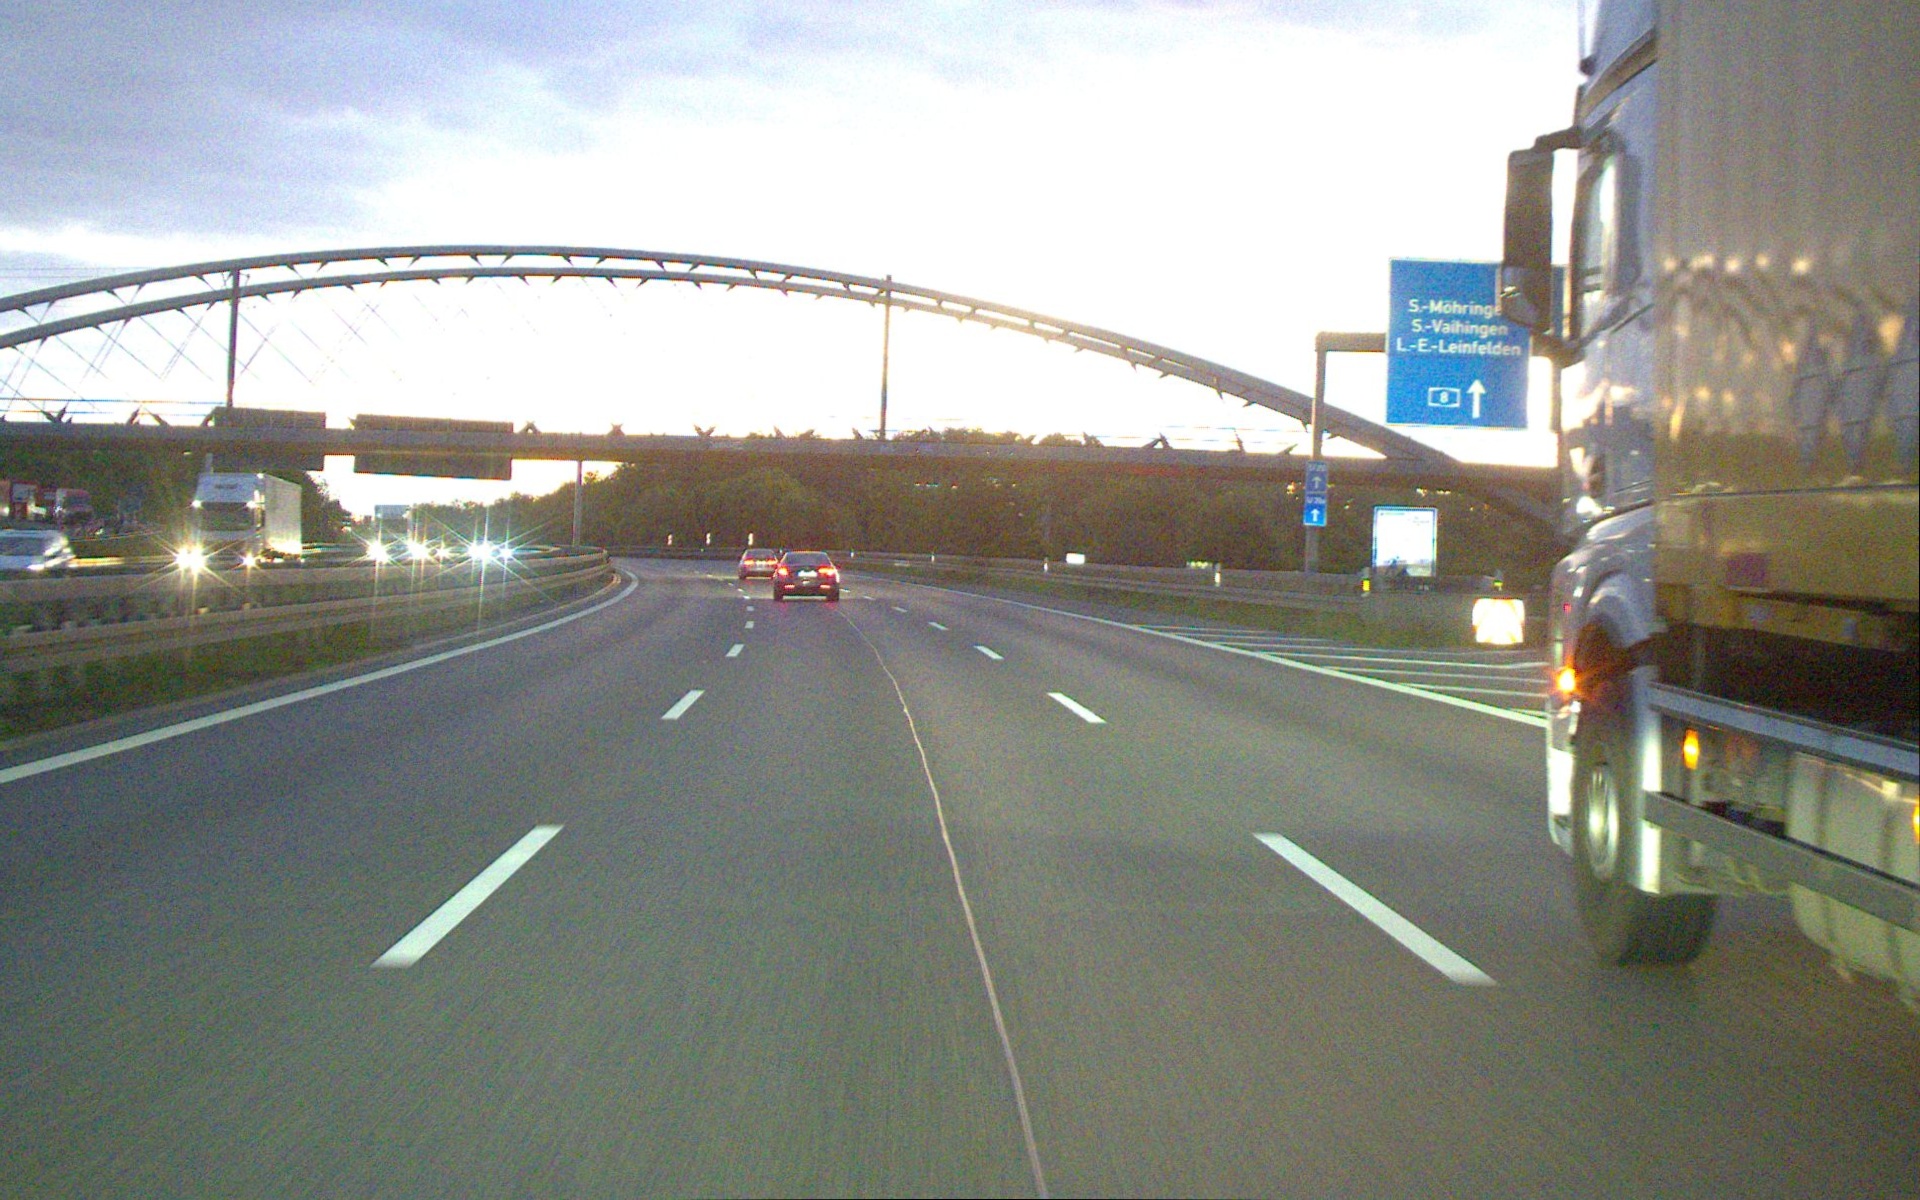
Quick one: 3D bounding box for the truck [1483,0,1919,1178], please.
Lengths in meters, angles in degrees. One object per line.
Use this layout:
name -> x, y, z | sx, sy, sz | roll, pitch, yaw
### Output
truck -> 3.644, -0.650, 9.131 | 2.690, 4.057, 10.521 | 0, 1, -1

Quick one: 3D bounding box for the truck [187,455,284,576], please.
truck -> -27.677, -3.200, 131.533 | 2.824, 4.492, 6.246 | 0, 1, -4

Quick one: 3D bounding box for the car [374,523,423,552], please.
car -> -27.939, -3.095, 171.106 | 1.993, 1.399, 4.330 | 0, 1, -3

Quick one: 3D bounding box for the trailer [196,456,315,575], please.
trailer -> -28.182, -3.365, 138.121 | 2.824, 4.491, 14.631 | 0, 1, -4

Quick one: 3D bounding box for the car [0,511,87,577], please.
car -> -23.747, -1.435, 87.197 | 1.993, 1.619, 4.844 | 0, 1, 0

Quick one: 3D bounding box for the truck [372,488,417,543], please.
truck -> -42.418, -6.308, 258.011 | 2.824, 4.034, 12.218 | 0, 1, -7

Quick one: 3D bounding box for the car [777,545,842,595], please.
car -> -4.365, -0.848, 99.386 | 1.689, 1.397, 3.409 | 1, 0, -5

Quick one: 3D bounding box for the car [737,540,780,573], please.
car -> -9.320, -2.011, 159.336 | 1.689, 1.397, 3.408 | 0, -1, 2
